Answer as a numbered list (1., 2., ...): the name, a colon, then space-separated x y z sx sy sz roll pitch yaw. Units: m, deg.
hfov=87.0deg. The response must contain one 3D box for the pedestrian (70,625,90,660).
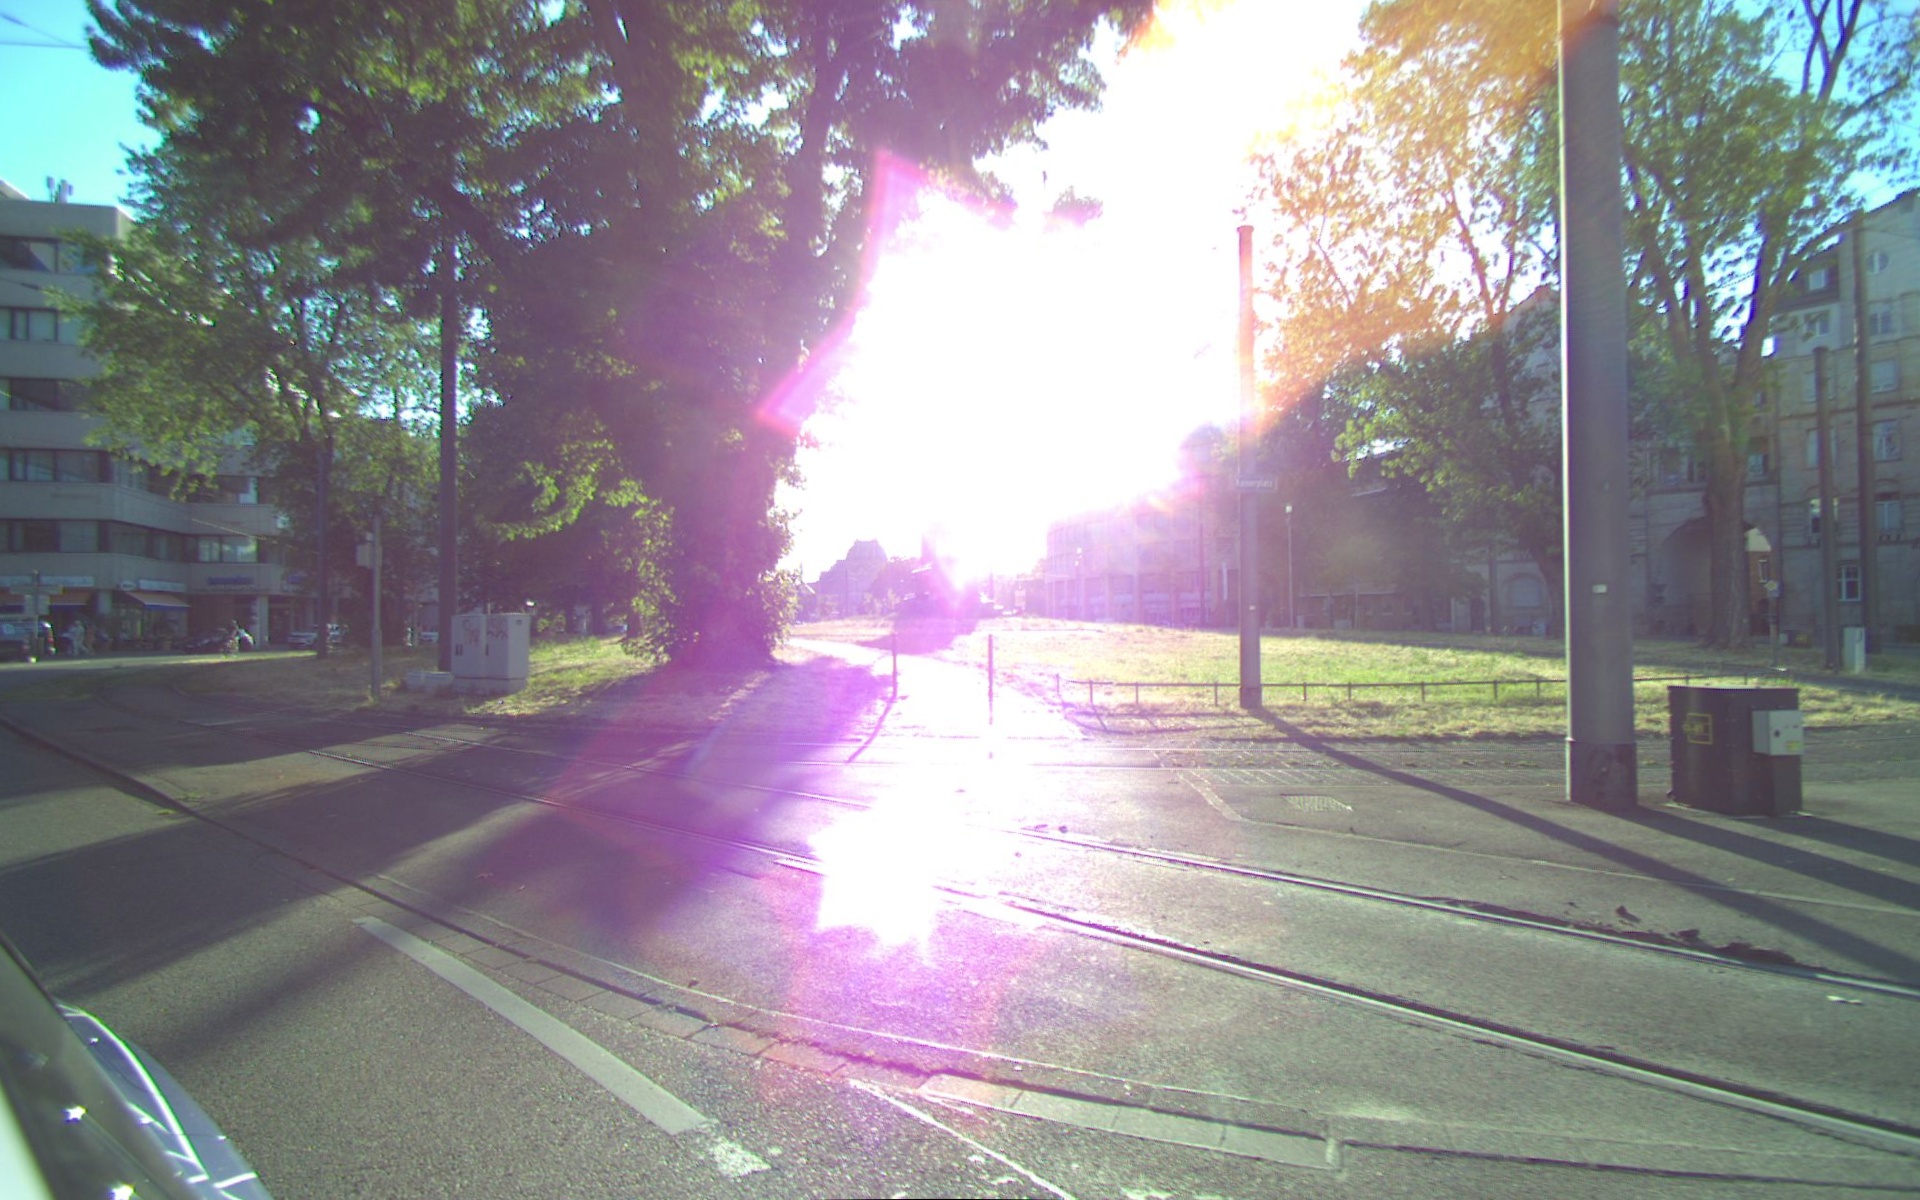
1. pedestrian: -46.954 2.269 53.999 0.574 1.852 0.595 1 -4 44

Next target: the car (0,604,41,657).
1. car: -52.172 1.552 53.112 5.341 2.748 2.188 1 -2 -17

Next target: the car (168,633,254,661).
1. car: -44.102 2.735 59.688 1.776 1.453 3.986 -2 -1 11

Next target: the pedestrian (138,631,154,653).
1. pedestrian: -49.647 2.537 61.751 0.601 1.331 0.593 0 -1 -23

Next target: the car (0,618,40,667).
1. car: -43.332 1.897 44.127 1.979 2.172 4.506 -2 -1 12

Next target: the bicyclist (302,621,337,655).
1. bicyclist: -38.396 2.288 60.714 1.221 2.007 1.364 -1 -1 6

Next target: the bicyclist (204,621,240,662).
1. bicyclist: -36.342 2.032 49.851 0.915 1.989 1.109 -2 -1 12

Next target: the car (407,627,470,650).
1. car: -41.083 3.011 79.814 1.979 1.617 4.506 -2 -1 12

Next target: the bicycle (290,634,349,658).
1. bicycle: -38.418 2.739 60.783 1.257 1.371 3.235 -1 -1 6

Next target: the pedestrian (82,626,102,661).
1. pedestrian: -46.220 2.326 53.896 0.528 1.852 0.497 3 -3 15

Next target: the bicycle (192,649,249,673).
1. bicycle: -36.330 2.980 49.756 0.926 1.084 2.213 -1 -1 12

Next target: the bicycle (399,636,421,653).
1. bicycle: -37.426 3.024 68.864 0.859 1.105 1.854 -1 -1 -12

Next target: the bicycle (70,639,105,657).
1. bicycle: -48.467 2.674 56.205 1.424 1.000 0.532 3 -1 -41

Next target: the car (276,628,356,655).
1. car: -43.142 2.747 67.890 1.979 1.617 4.506 -2 -1 12

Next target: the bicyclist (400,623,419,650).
1. bicyclist: -37.424 2.474 68.807 0.848 1.796 0.988 0 -1 -12

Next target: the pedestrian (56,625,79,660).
1. pedestrian: -47.672 2.276 54.071 0.615 1.852 0.533 3 -3 17

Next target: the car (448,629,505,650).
1. car: -40.242 3.258 84.298 1.979 1.617 4.506 -2 -1 12
